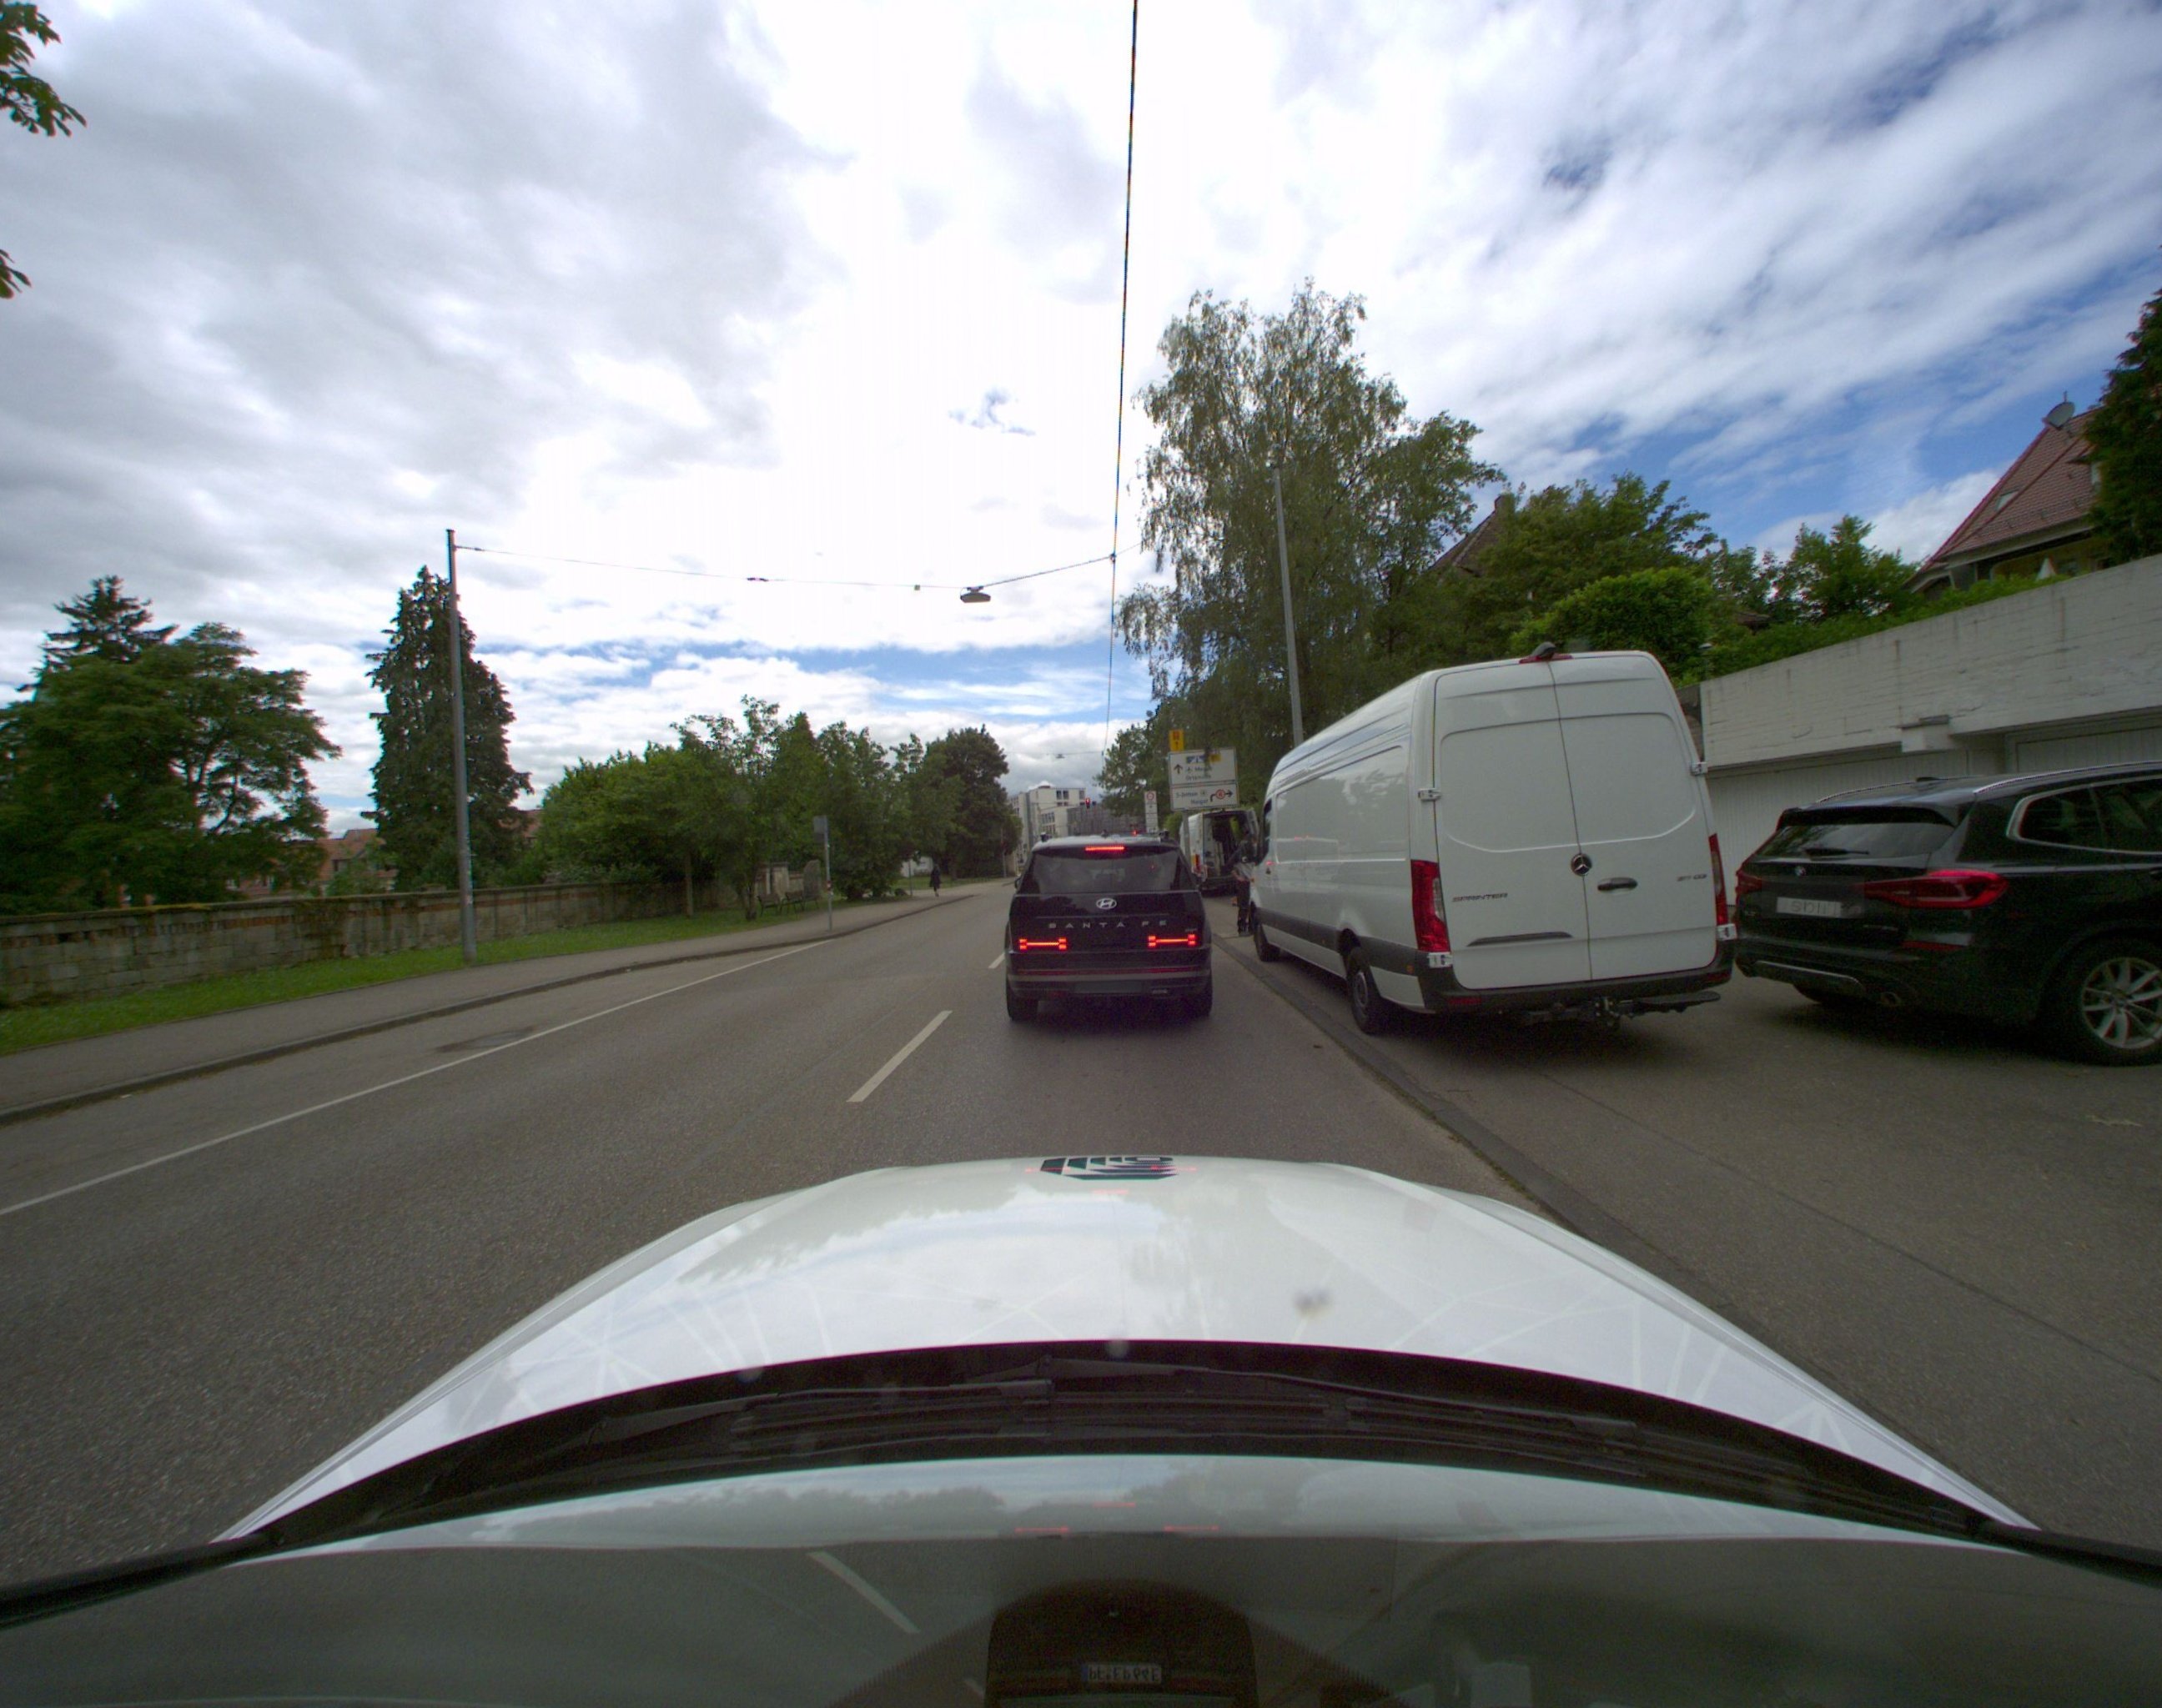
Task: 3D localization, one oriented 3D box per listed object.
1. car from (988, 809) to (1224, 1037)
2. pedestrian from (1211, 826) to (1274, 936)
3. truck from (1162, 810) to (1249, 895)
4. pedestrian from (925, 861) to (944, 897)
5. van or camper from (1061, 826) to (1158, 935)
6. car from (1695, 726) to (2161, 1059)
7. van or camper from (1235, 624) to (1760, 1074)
[{"bbox_3d":[0.265,0.569,8.666,1.883,1.819,4.002,-2,0,2],"label":"car"},{"bbox_3d":[2.762,0.448,14.004,0.867,1.797,0.760,-3,0,1],"label":"pedestrian"},{"bbox_3d":[4.227,-0.029,28.480,1.937,2.561,5.213,-5,-1,-1],"label":"truck"},{"bbox_3d":[-7.244,1.214,40.311,0.737,1.715,0.791,-3,0,-5],"label":"pedestrian"},{"bbox_3d":[0.616,0.511,17.609,1.748,2.013,4.002,-3,0,2],"label":"van or camper"},{"bbox_3d":[6.861,0.130,5.225,4.398,1.750,1.739,-3,0,3],"label":"car"},{"bbox_3d":[3.133,-0.026,8.195,1.986,2.620,6.543,-3,0,2],"label":"van or camper"}]
